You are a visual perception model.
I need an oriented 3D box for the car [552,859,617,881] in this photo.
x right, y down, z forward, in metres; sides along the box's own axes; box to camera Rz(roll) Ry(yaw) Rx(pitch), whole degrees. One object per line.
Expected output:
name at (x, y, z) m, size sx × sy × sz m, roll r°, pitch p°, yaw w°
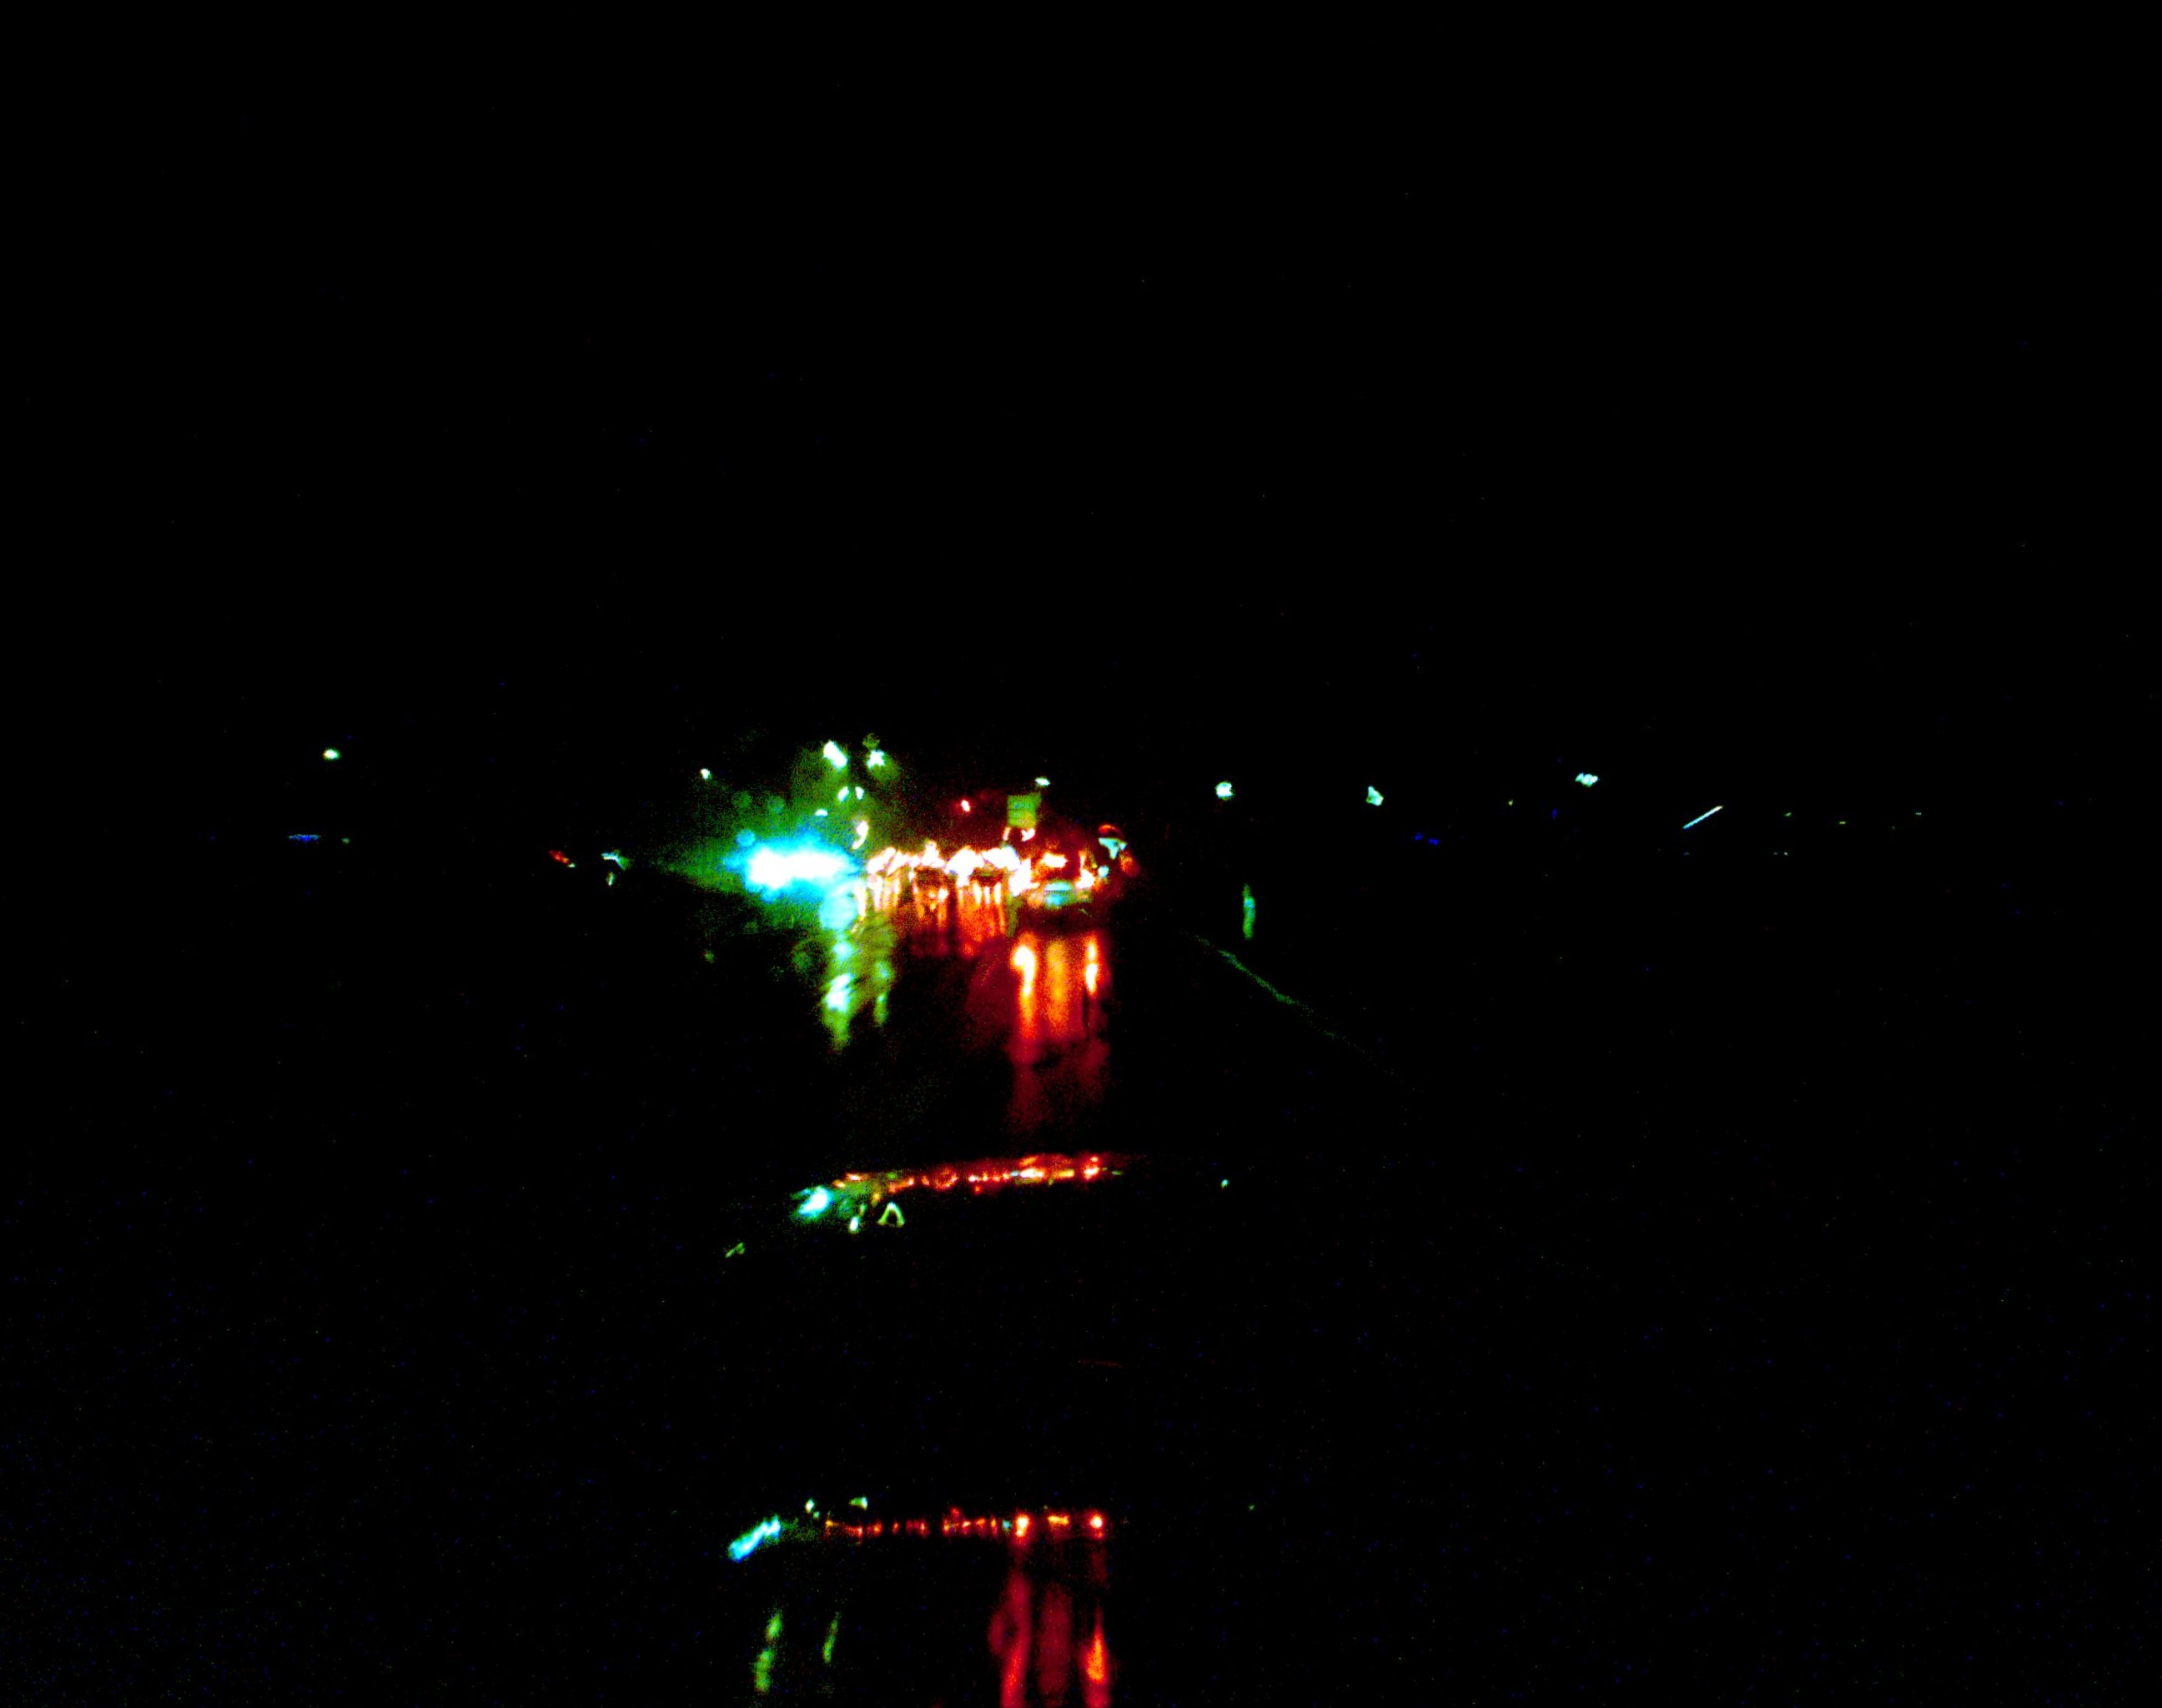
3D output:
car at (-39.194, 1.233, 64.363) m, size 4.302 × 1.628 × 1.981 m, roll -1°, pitch 0°, yaw -30°

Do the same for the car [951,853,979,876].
car at (-9.184, 0.788, 64.784) m, size 1.992 × 1.628 × 4.973 m, roll -3°, pitch 1°, yaw -7°

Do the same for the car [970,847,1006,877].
car at (-5.622, 0.448, 49.391) m, size 1.992 × 1.628 × 4.973 m, roll -3°, pitch 1°, yaw -7°

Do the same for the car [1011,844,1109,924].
car at (-0.519, 0.657, 19.221) m, size 1.988 × 1.628 × 4.979 m, roll 0°, pitch -1°, yaw -2°

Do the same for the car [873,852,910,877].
car at (-14.049, 0.720, 60.639) m, size 1.992 × 1.628 × 4.973 m, roll -3°, pitch 1°, yaw -7°

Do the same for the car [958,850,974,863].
car at (-15.613, 0.362, 110.520) m, size 1.993 × 1.628 × 4.968 m, roll -3°, pitch 1°, yaw -9°

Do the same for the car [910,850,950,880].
car at (-9.169, 0.611, 49.743) m, size 1.992 × 1.628 × 4.973 m, roll -3°, pitch 1°, yaw -7°
